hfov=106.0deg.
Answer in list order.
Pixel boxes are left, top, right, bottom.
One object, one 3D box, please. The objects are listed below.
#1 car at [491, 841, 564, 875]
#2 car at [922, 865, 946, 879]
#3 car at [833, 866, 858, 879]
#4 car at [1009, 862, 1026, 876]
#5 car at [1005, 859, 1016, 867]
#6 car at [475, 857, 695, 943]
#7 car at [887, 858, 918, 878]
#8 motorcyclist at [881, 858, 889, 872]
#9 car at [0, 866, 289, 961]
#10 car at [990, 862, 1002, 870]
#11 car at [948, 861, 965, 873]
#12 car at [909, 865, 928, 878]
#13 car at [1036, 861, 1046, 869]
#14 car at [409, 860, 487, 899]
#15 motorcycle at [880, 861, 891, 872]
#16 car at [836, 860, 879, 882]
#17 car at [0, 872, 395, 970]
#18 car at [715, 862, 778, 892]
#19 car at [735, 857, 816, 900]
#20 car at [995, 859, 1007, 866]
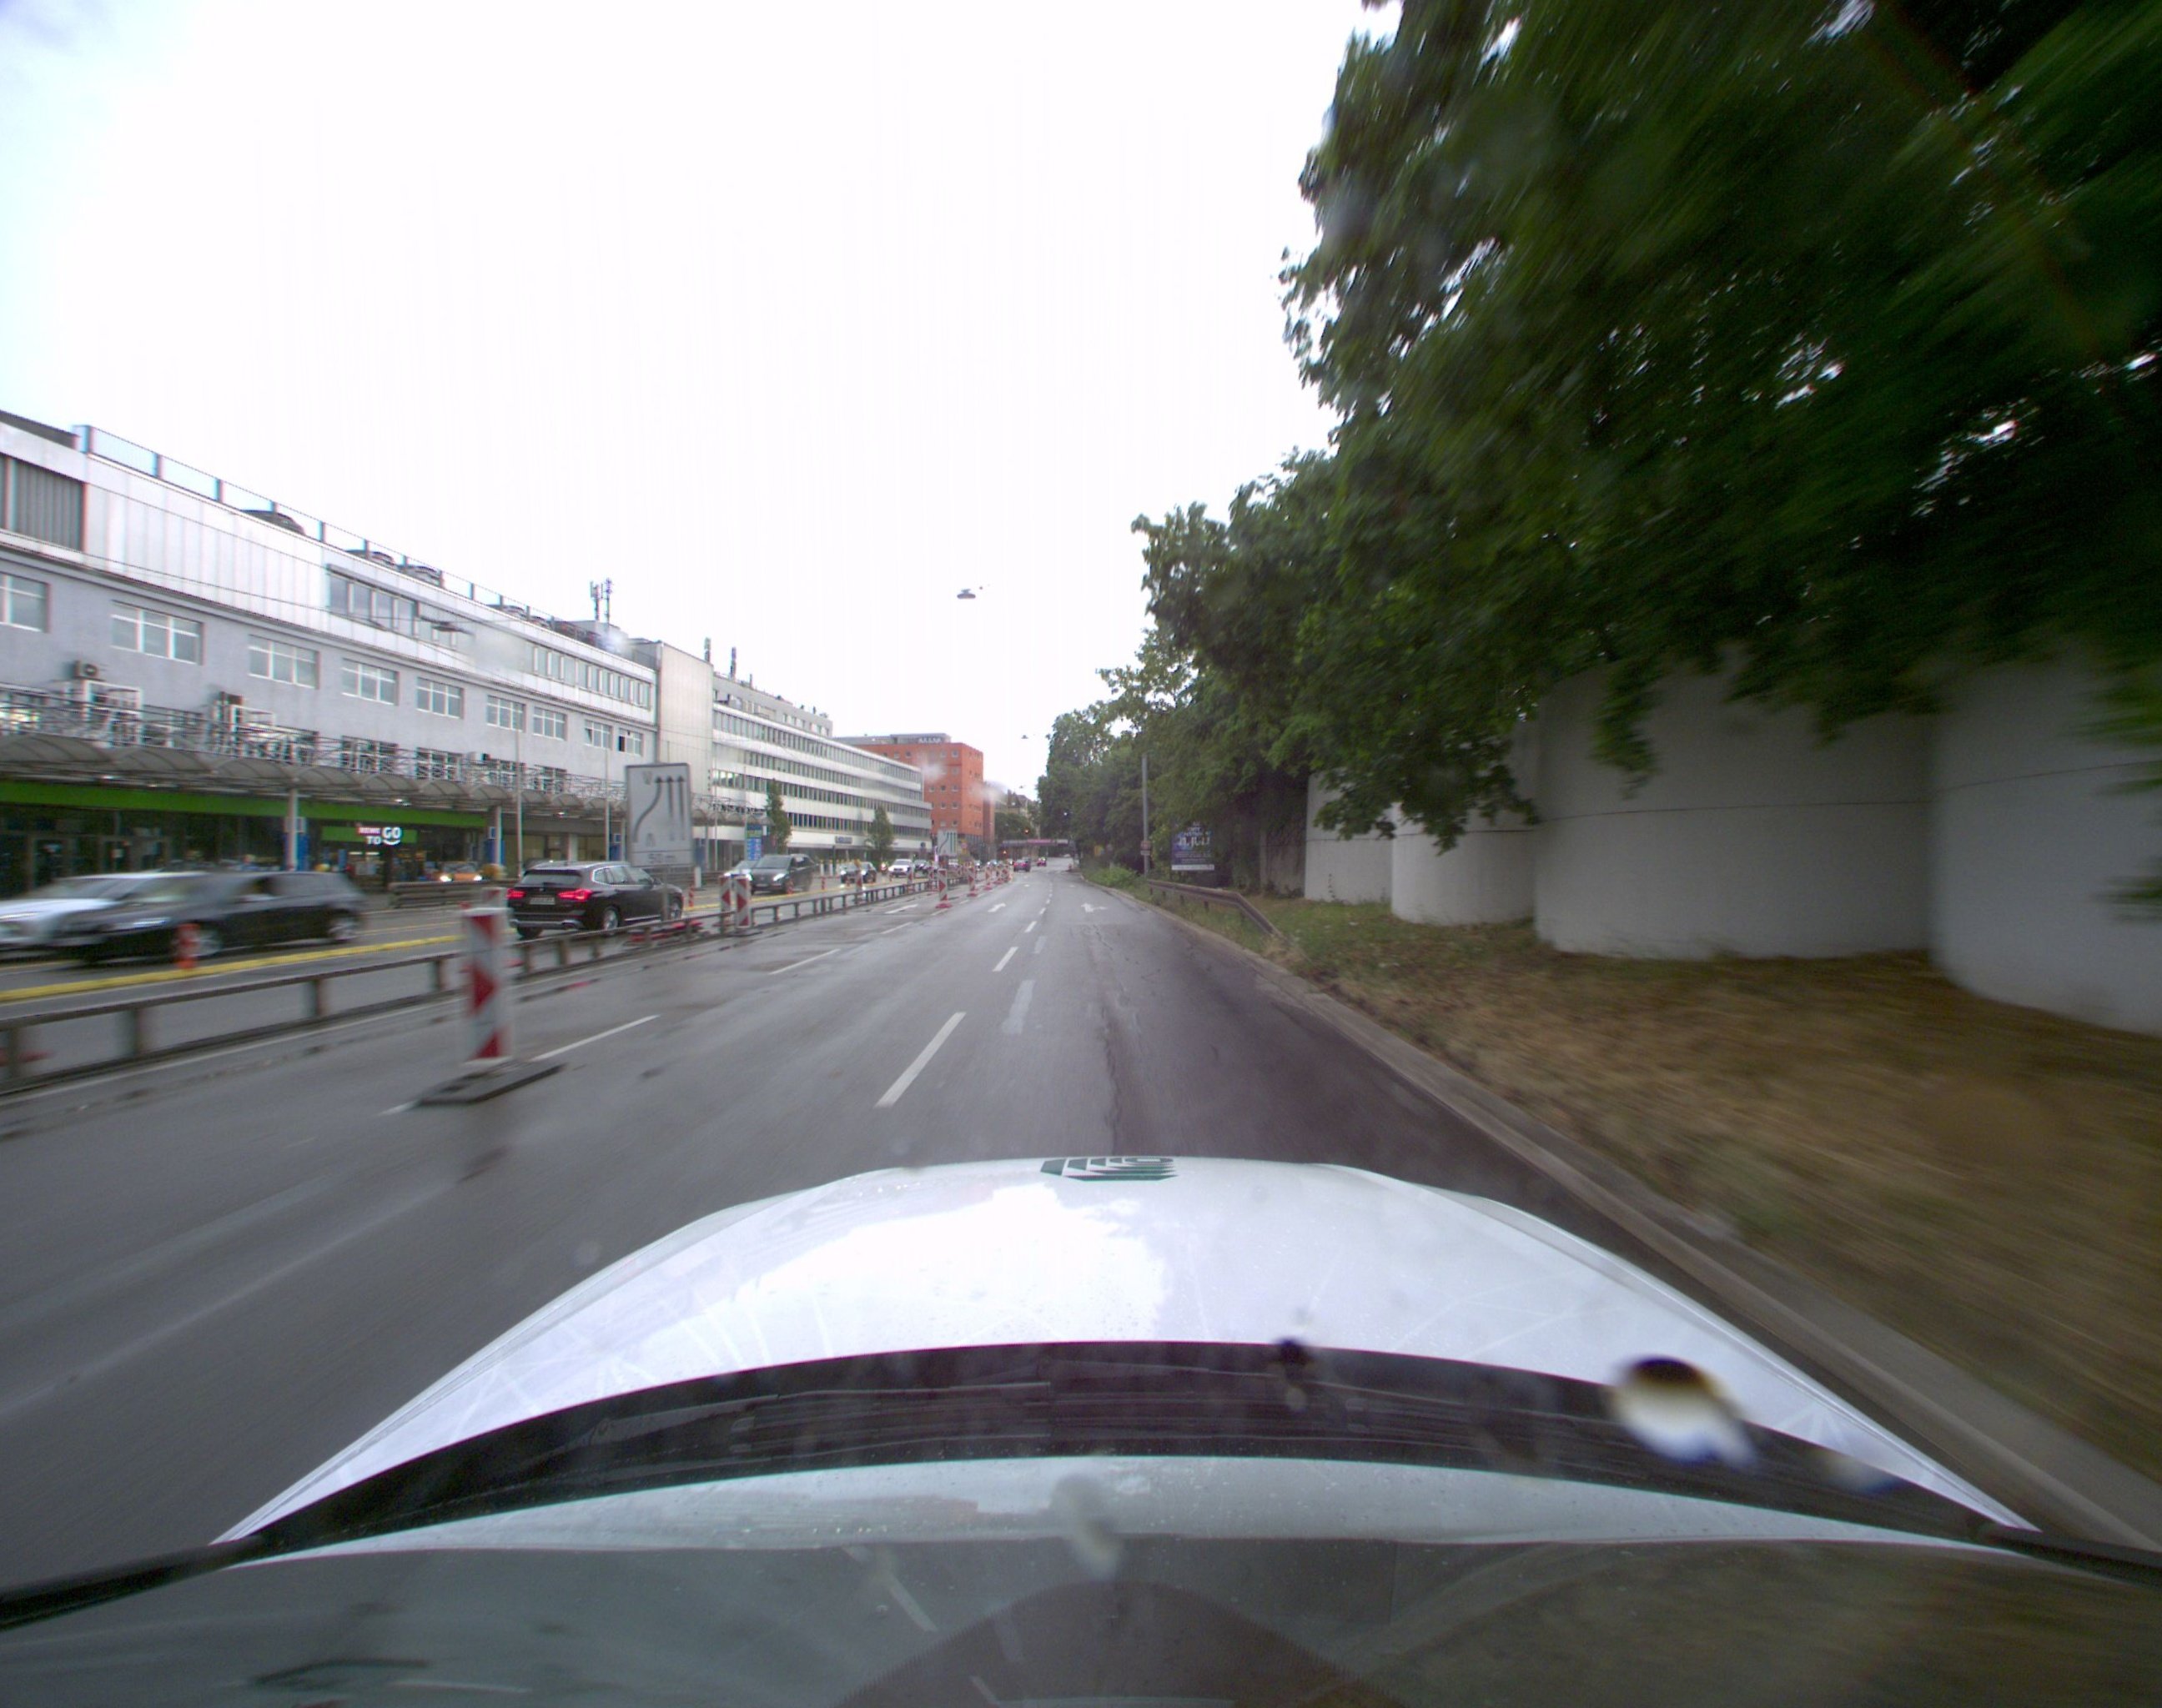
[{"bbox_3d":[-29.950,0.236,44.026,4.421,1.679,2.027,-2,-1,39],"label":"car"},{"bbox_3d":[-16.195,1.998,89.909,1.954,1.521,4.297,0,0,-2],"label":"car"},{"bbox_3d":[-28.439,2.242,98.346,1.645,1.535,3.760,-1,-1,4],"label":"car"},{"bbox_3d":[-9.112,2.140,117.428,2.115,1.734,4.195,2,0,-2],"label":"car"},{"bbox_3d":[-16.377,2.098,189.517,1.837,1.737,4.610,0,-1,4],"label":"car"},{"bbox_3d":[-11.095,0.940,18.719,1.939,1.597,4.674,2,0,3],"label":"car"},{"bbox_3d":[-16.205,1.249,74.247,1.933,1.690,4.577,-1,-1,-2],"label":"car"},{"bbox_3d":[-19.312,1.049,80.238,0.586,1.363,0.561,-1,0,-2],"label":"motorcyclist"},{"bbox_3d":[-18.181,1.012,15.438,1.776,1.508,4.525,-1,-1,3],"label":"car"},{"bbox_3d":[-17.359,2.398,166.962,1.800,1.558,4.305,0,-1,4],"label":"car"},{"bbox_3d":[-19.079,1.967,125.147,1.975,1.707,4.827,0,-1,-2],"label":"car"},{"bbox_3d":[-19.732,2.102,99.003,1.706,1.536,4.074,-1,0,-2],"label":"car"},{"bbox_3d":[-8.776,2.416,178.700,1.757,1.697,3.705,-1,-1,0],"label":"car"},{"bbox_3d":[-30.299,1.222,38.959,4.388,1.770,1.980,-2,-1,39],"label":"car"},{"bbox_3d":[-19.318,1.242,80.590,0.577,1.102,2.026,-1,-1,-1],"label":"motorcycle"},{"bbox_3d":[-15.785,1.188,57.813,1.846,1.466,4.704,-1,-1,-1],"label":"car"},{"bbox_3d":[-15.071,1.037,14.336,1.791,1.351,4.814,-1,-1,2],"label":"car"},{"bbox_3d":[-18.554,1.237,45.325,1.742,1.585,4.263,-1,-1,0],"label":"car"},{"bbox_3d":[-14.748,1.144,39.682,1.988,1.937,5.228,-2,-1,-1],"label":"car"},{"bbox_3d":[-15.308,1.576,156.140,1.681,1.354,4.120,-1,-1,5],"label":"car"}]
